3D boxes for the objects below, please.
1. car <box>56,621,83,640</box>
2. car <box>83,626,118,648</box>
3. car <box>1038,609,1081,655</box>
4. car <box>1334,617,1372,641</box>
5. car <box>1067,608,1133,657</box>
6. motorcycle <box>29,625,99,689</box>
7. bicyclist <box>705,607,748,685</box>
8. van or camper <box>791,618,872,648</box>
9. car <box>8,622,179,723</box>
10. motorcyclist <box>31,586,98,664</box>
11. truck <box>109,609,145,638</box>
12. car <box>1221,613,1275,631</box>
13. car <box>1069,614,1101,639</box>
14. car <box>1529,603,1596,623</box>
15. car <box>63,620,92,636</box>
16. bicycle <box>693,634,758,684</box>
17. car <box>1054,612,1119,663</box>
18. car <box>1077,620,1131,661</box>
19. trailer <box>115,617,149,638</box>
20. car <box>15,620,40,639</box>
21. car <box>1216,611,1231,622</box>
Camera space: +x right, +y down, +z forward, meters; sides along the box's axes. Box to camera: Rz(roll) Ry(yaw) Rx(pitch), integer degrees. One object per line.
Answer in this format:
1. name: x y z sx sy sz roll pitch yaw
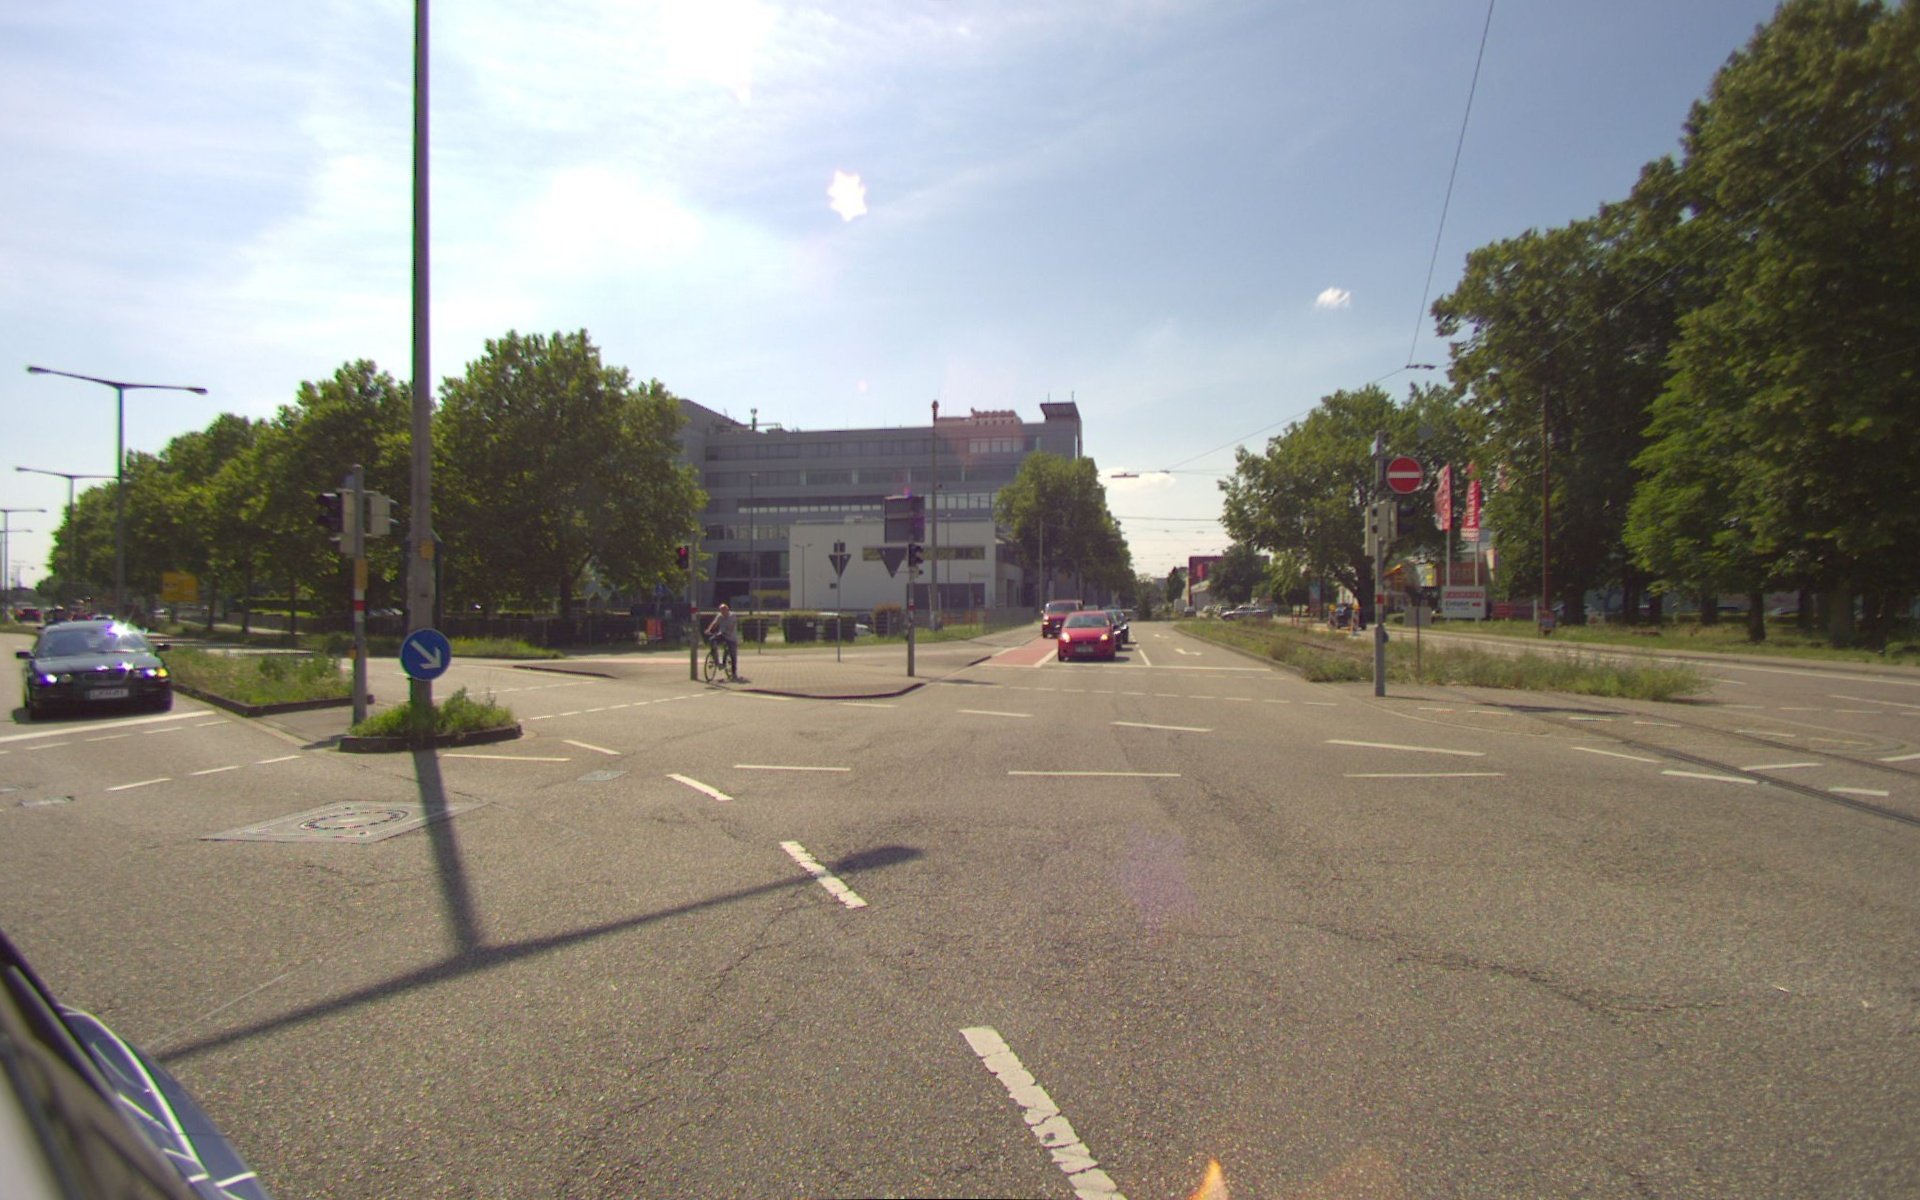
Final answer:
1. car: -97.457 3.295 110.759 1.971 2.029 4.002 0 -1 -45
2. car: -62.742 2.678 73.844 1.630 1.525 3.738 0 -1 -45
3. car: 5.195 1.634 53.129 2.125 2.295 5.033 -1 -1 5
4. car: 25.462 1.882 65.676 1.773 1.454 4.201 -1 -1 15
5. car: 5.123 1.164 37.535 1.973 1.712 3.997 -1 -1 2
6. motorcycle: -20.295 1.260 22.903 2.332 1.361 1.037 -2 -1 45
7. bicyclist: -5.473 1.065 23.750 0.699 1.802 0.764 -1 -1 16
8. van or camper: -7.631 1.941 60.378 4.459 1.704 1.995 -1 -1 8
9. car: -14.047 1.072 16.327 4.068 1.372 1.707 -1 0 44
10. motorcyclist: -20.165 0.557 22.787 1.042 1.712 1.051 -2 -1 44
11. truck: -74.774 2.078 90.773 2.114 2.494 7.136 0 -1 -42
12. car: 24.887 1.901 87.564 1.763 1.454 4.224 0 -1 -45
13. car: 8.996 1.898 72.915 1.974 1.712 3.996 -1 -1 3
14. car: 49.849 1.061 83.779 4.339 1.576 1.867 -1 -1 13
15. car: -84.051 2.672 96.396 3.768 1.445 1.827 -1 -1 44
16. bicycle: -5.460 1.364 23.737 0.521 1.072 2.155 -1 -1 15
17. car: 3.915 1.099 30.904 1.826 1.460 3.989 -1 -1 9
18. car: 6.275 1.743 44.424 1.974 1.712 3.996 -1 -1 3
19. trailer: -70.949 2.377 86.695 2.037 1.729 3.995 0 -1 -42
20. car: -107.034 3.384 116.105 1.971 2.029 4.002 0 -1 -45
21. car: 36.184 2.213 139.146 1.681 1.438 3.848 -1 -1 10
